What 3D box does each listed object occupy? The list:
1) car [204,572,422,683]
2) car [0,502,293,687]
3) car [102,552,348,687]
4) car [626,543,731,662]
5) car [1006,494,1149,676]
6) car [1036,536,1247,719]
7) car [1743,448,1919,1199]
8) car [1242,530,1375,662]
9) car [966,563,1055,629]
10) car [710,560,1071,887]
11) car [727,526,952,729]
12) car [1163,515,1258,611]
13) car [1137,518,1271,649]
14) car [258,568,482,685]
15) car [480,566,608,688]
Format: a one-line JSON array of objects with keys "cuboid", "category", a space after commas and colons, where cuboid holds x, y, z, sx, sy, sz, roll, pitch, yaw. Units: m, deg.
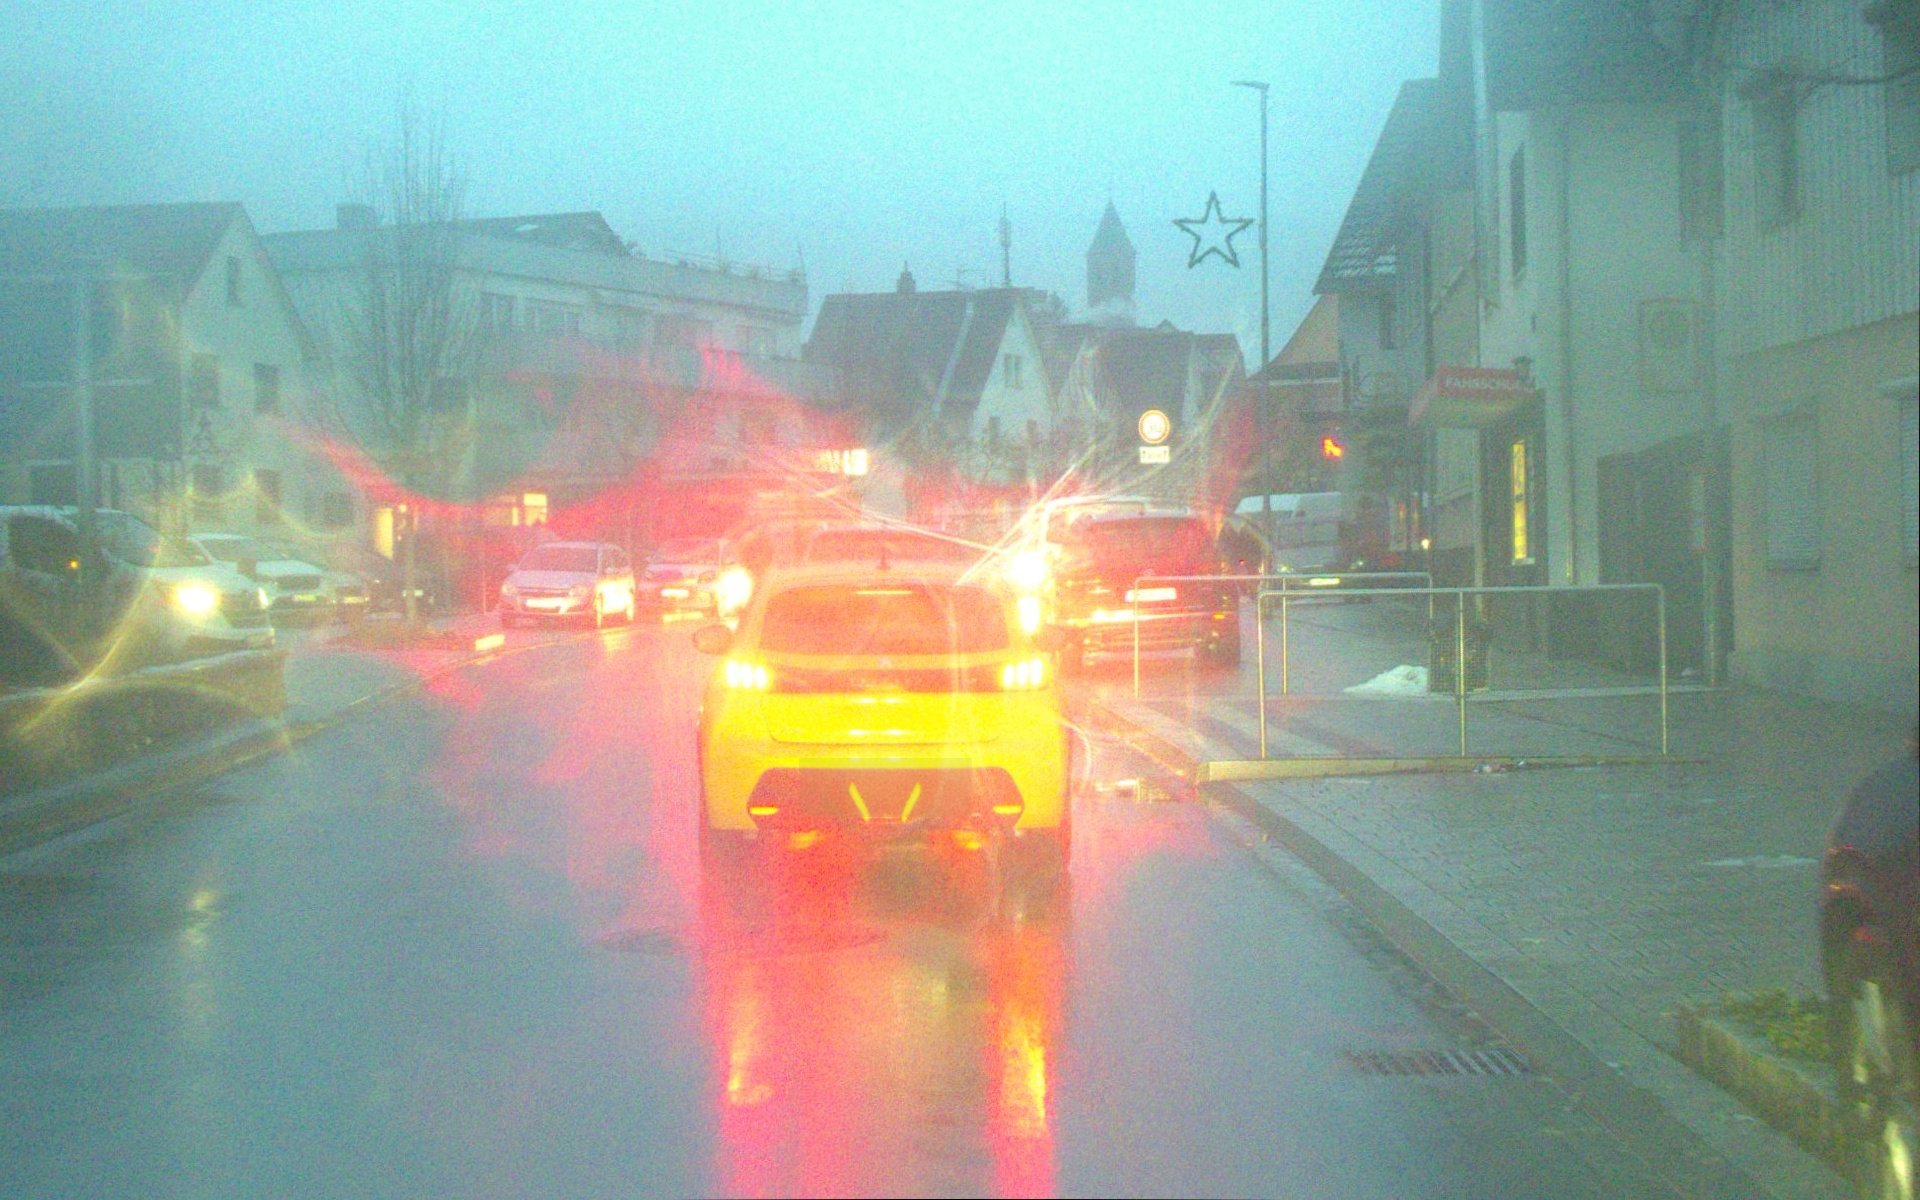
[{"cuboid": [-12.032, 0.517, 63.782, 4.166, 1.969, 1.818, 0, -2, 43], "category": "car"}, {"cuboid": [-9.906, -0.105, 36.178, 5.399, 1.811, 1.711, 2, 0, 13], "category": "car"}, {"cuboid": [-12.834, 0.350, 59.937, 4.382, 2.244, 1.995, 0, -2, 43], "category": "car"}, {"cuboid": [-5.524, 0.085, 67.780, 1.919, 2.208, 3.975, 1, -2, -3], "category": "car"}, {"cuboid": [1.652, -0.161, 49.648, 1.870, 2.461, 4.443, 1, -2, 0], "category": "car"}, {"cuboid": [1.898, 0.274, 37.198, 1.997, 1.858, 4.083, 0, 0, -1], "category": "car"}, {"cuboid": [2.654, 0.565, 5.317, 1.735, 1.686, 4.386, -1, 0, -2], "category": "car"}, {"cuboid": [6.266, -0.028, 62.163, 1.993, 2.241, 4.000, 1, -2, 0], "category": "car"}, {"cuboid": [1.274, -0.083, 85.075, 1.488, 1.521, 3.412, 1, -2, 13], "category": "car"}, {"cuboid": [-0.337, 0.526, 16.615, 1.563, 1.408, 3.018, 1, 1, -1], "category": "car"}, {"cuboid": [-0.987, 0.201, 29.867, 1.766, 1.623, 3.586, 1, 1, 1], "category": "car"}, {"cuboid": [5.343, -0.761, 72.928, 1.870, 1.828, 4.442, 1, -2, 6], "category": "car"}, {"cuboid": [3.975, -0.226, 56.581, 1.870, 1.992, 4.443, 1, -2, 0], "category": "car"}, {"cuboid": [-11.481, 0.525, 66.762, 4.382, 2.159, 1.995, 0, -2, 43], "category": "car"}, {"cuboid": [-7.216, 0.503, 59.951, 1.919, 2.021, 3.975, 1, -2, -3], "category": "car"}]
